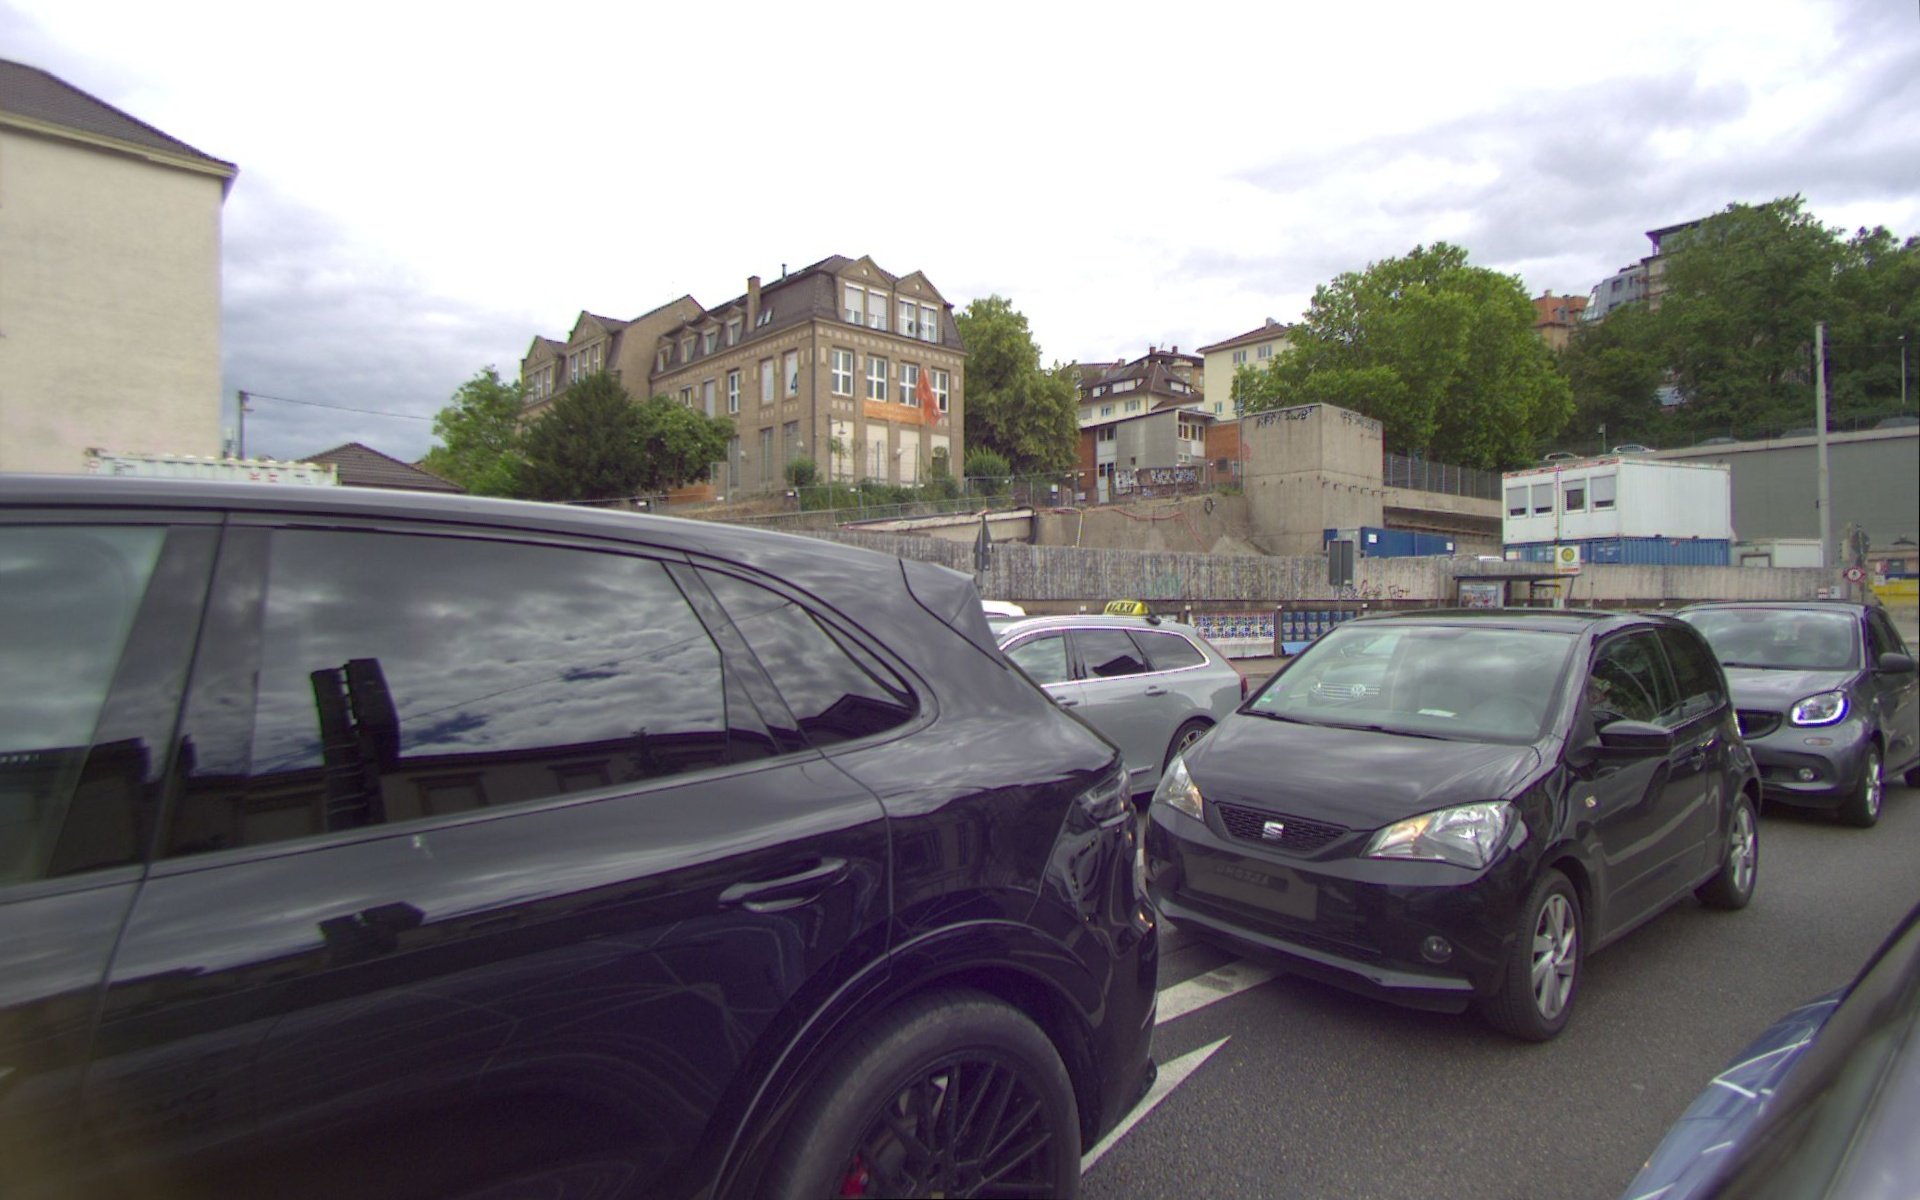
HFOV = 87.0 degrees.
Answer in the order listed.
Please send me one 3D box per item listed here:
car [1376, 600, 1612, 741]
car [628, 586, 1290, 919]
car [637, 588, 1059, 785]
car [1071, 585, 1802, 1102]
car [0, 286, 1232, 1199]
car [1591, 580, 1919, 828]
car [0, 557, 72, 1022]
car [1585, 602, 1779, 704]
[{"bbox_3d":[6.460,0.747,12.184,2.667,1.449,1.664,-1,0,-41],"label":"car"},{"bbox_3d":[0.267,0.730,7.262,4.725,1.645,1.827,-1,0,-41],"label":"car"},{"bbox_3d":[-1.009,0.706,10.479,4.136,1.645,1.679,-1,0,-41],"label":"car"},{"bbox_3d":[2.435,0.678,4.792,3.636,1.476,1.827,-1,0,-41],"label":"car"},{"bbox_3d":[-1.624,0.558,1.601,4.406,1.737,1.827,-1,0,-41],"label":"car"},{"bbox_3d":[6.706,0.661,8.186,3.511,1.563,1.720,0,0,-40],"label":"car"},{"bbox_3d":[-5.306,0.686,3.040,3.930,1.645,1.679,-1,0,-41],"label":"car"},{"bbox_3d":[11.505,0.748,16.056,3.740,1.383,1.679,-1,0,-41],"label":"car"}]
